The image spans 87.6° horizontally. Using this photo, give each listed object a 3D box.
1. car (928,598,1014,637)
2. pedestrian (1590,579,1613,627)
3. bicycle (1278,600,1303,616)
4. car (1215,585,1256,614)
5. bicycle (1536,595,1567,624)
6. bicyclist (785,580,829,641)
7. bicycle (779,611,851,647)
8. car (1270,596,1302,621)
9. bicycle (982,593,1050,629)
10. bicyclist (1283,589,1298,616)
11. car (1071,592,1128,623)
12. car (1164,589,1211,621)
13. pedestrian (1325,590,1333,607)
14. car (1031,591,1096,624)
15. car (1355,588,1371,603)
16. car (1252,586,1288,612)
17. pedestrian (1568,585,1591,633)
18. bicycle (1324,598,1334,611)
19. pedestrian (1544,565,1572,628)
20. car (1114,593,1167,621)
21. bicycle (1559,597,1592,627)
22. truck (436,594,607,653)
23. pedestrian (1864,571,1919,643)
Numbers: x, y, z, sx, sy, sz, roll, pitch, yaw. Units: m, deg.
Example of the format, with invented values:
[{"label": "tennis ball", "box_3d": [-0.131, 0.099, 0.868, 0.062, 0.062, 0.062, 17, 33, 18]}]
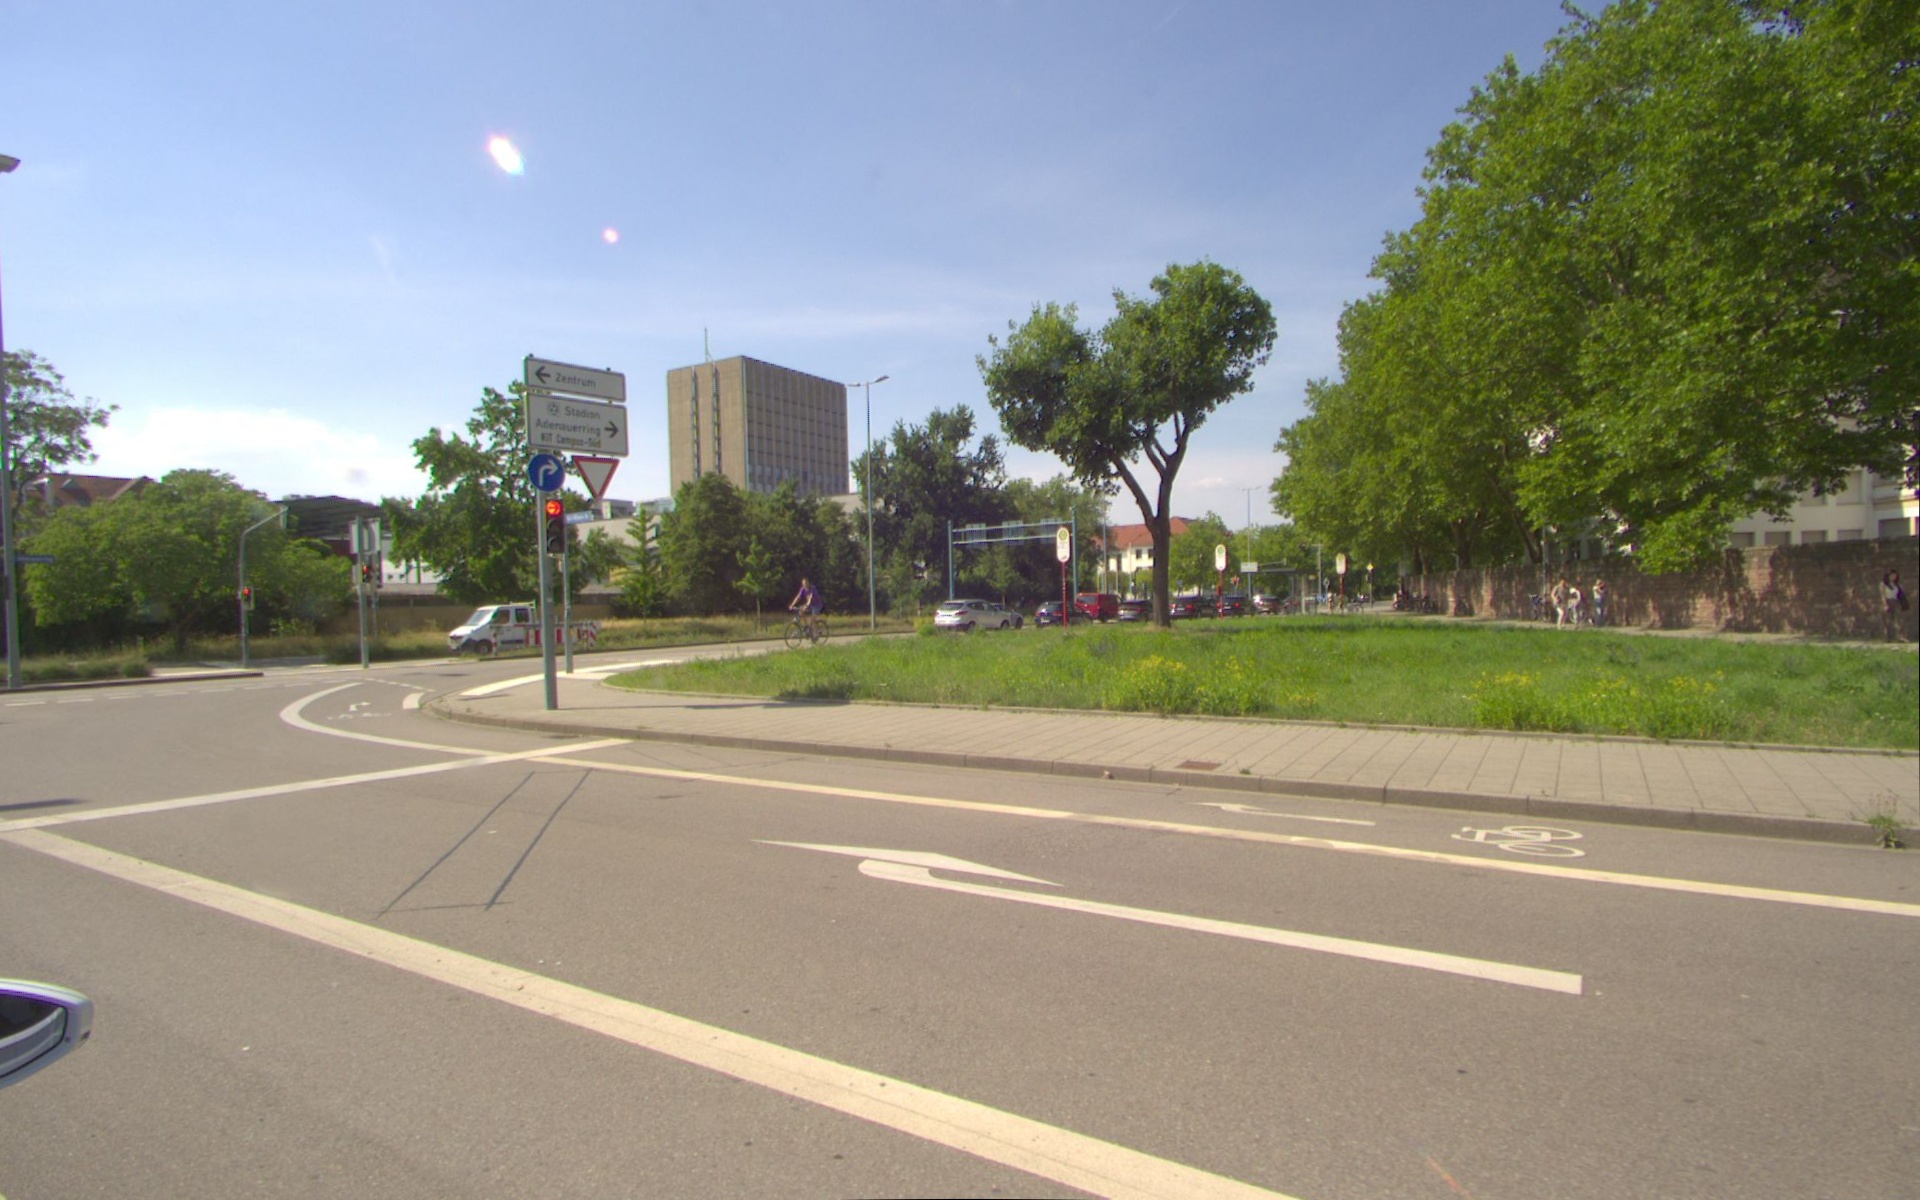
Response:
[{"label": "car", "box_3d": [0.548, 0.782, 46.473, 1.691, 1.640, 4.183, -1, 1, 40]}, {"label": "pedestrian", "box_3d": [21.541, 0.098, 33.642, 0.515, 1.599, 0.701, -1, 1, 23]}, {"label": "bicycle", "box_3d": [26.163, 0.637, 79.220, 0.838, 1.233, 3.462, -1, -2, 37]}, {"label": "car", "box_3d": [20.565, -0.054, 74.705, 1.970, 2.040, 3.980, -1, 1, 30]}, {"label": "bicycle", "box_3d": [22.488, 0.357, 38.087, 0.439, 1.047, 1.447, -1, 1, 6]}, {"label": "bicyclist", "box_3d": [-4.230, 0.287, 27.665, 1.068, 1.659, 0.486, -1, 1, 29]}, {"label": "bicycle", "box_3d": [-4.017, 0.793, 27.752, 1.912, 0.899, 0.679, -2, 1, -42]}, {"label": "car", "box_3d": [28.533, 0.763, 87.572, 1.970, 2.039, 3.984, -1, -2, 29]}, {"label": "bicycle", "box_3d": [3.150, 0.593, 55.722, 1.973, 1.839, 3.975, -2, 0, 35]}, {"label": "bicyclist", "box_3d": [26.171, 0.200, 79.250, 0.769, 2.039, 1.265, -1, -2, 38]}, {"label": "car", "box_3d": [8.994, 0.467, 64.162, 1.950, 1.821, 4.587, -1, 1, 31]}, {"label": "car", "box_3d": [15.450, 0.306, 67.780, 1.970, 2.040, 3.980, -1, 1, 30]}, {"label": "pedestrian", "box_3d": [32.610, -0.136, 88.540, 0.552, 1.458, 0.729, -1, 1, 30]}, {"label": "car", "box_3d": [5.496, 0.379, 52.942, 1.564, 1.612, 3.971, -1, 1, 37]}, {"label": "car", "box_3d": [60.362, -0.607, 150.009, 1.968, 2.039, 3.987, -1, -2, 26]}, {"label": "car", "box_3d": [25.342, -0.095, 81.862, 1.970, 2.040, 3.980, -1, 1, 30]}, {"label": "pedestrian", "box_3d": [20.922, 0.307, 33.817, 0.515, 1.599, 0.701, -1, 1, 23]}, {"label": "bicycle", "box_3d": [32.652, 0.394, 88.597, 0.552, 1.066, 1.318, -1, 1, 30]}, {"label": "pedestrian", "box_3d": [19.560, -0.110, 32.765, 0.513, 2.040, 0.596, -2, 1, -9]}, {"label": "car", "box_3d": [11.125, 0.430, 61.574, 1.564, 1.612, 3.972, -1, 1, 37]}, {"label": "bicycle", "box_3d": [22.219, 0.439, 36.178, 0.439, 1.047, 1.447, -1, 1, 6]}, {"label": "truck", "box_3d": [-20.004, 1.003, 46.110, 2.380, 2.386, 7.007, -3, 0, 33]}, {"label": "pedestrian", "box_3d": [20.734, 0.153, 22.201, 0.493, 1.569, 0.913, -2, 1, -4]}]
